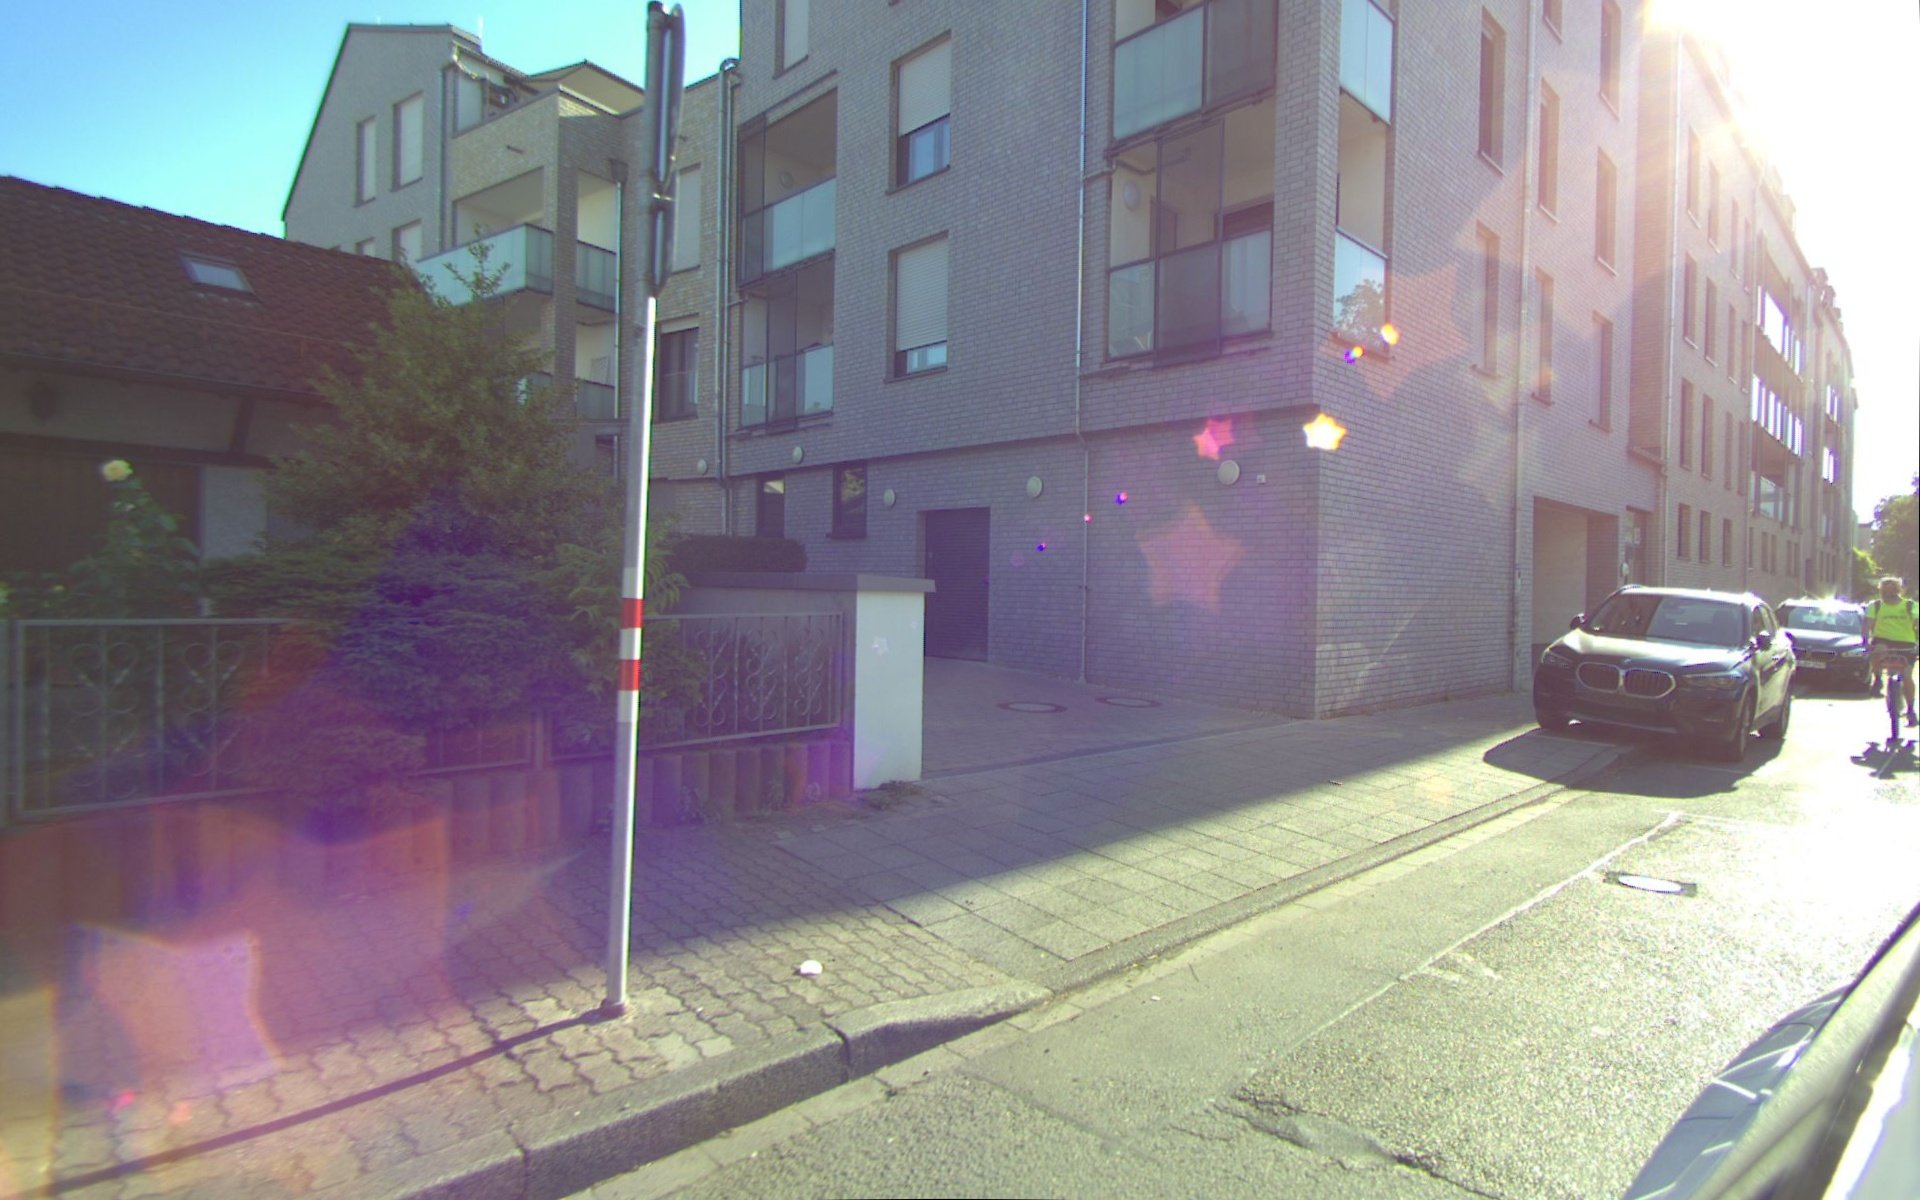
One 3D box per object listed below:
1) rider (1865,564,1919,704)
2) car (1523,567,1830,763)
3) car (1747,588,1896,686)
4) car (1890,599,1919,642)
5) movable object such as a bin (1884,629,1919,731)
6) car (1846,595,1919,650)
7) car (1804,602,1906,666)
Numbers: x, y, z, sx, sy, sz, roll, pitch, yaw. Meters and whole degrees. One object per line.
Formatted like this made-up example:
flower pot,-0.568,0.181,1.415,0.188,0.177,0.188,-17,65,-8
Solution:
rider,11.110,0.375,11.868,0.653,1.581,1.066,-3,-1,44
car,8.073,0.572,11.215,4.545,1.656,1.857,1,3,-44
car,17.166,0.659,20.080,1.994,1.674,4.687,2,1,43
car,36.275,0.759,38.063,1.817,1.485,4.202,2,2,44
movable object such as a bin,11.267,0.912,11.952,0.454,1.046,1.811,-3,0,44
car,31.733,0.738,34.293,4.689,1.733,1.894,1,1,-40
car,24.046,0.854,27.157,4.007,1.421,1.715,0,5,-45
